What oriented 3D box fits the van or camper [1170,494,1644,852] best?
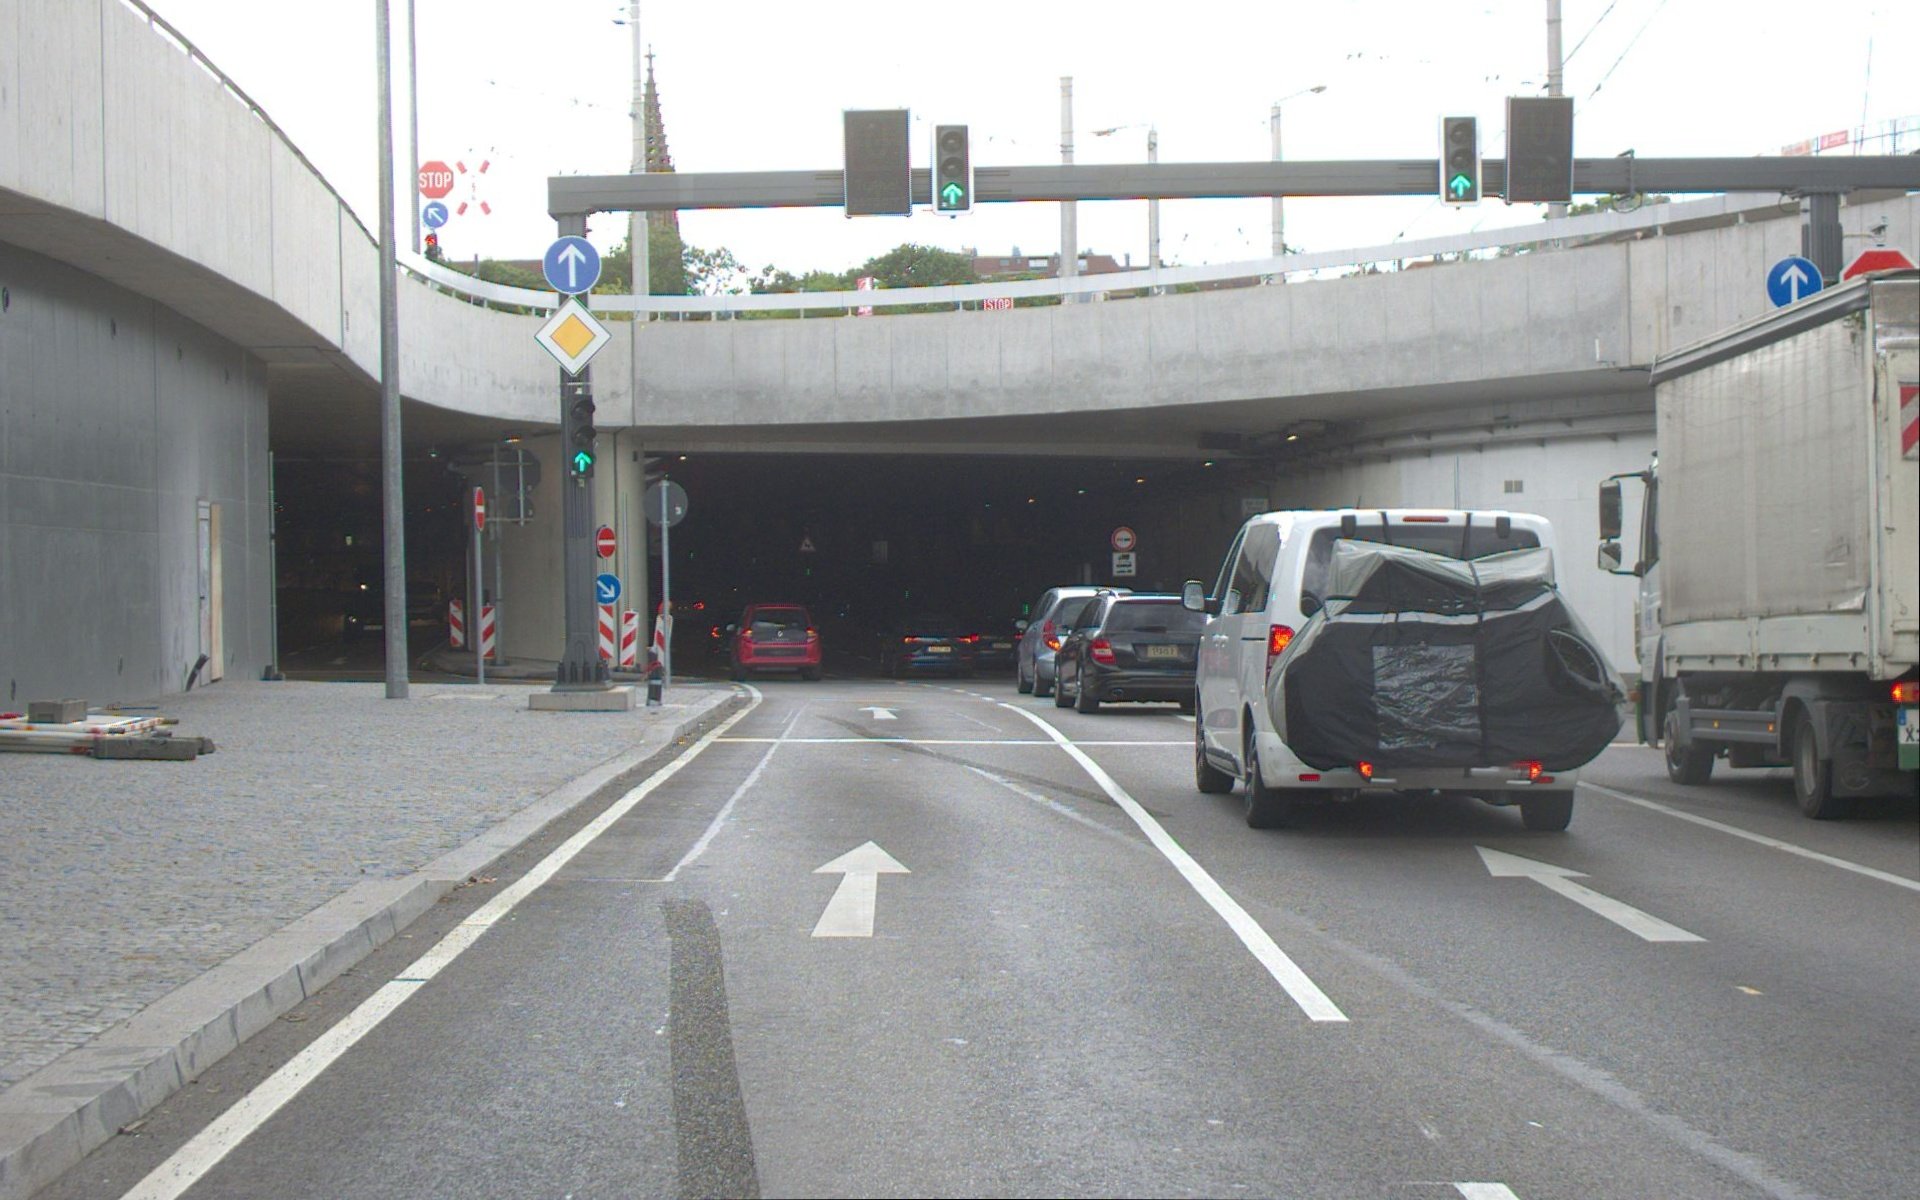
[{"bbox_3d":[2.502,0.418,20.690,1.993,1.839,5.508,1,-1,-1],"label":"van or camper"}]

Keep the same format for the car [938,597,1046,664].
[{"bbox_3d":[0.808,0.793,89.526,1.989,1.670,4.509,0,0,-10],"label":"car"}]

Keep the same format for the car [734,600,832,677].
[{"bbox_3d":[-3.532,0.763,68.201,1.660,1.483,3.568,0,0,-7],"label":"car"}]

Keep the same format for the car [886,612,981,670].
[{"bbox_3d":[-0.602,0.888,75.311,1.663,1.243,3.568,0,0,-7],"label":"car"}]

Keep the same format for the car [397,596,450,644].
[{"bbox_3d":[-19.566,0.704,125.534,1.807,1.599,4.789,-1,1,-8],"label":"car"}]

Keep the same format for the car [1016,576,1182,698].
[{"bbox_3d":[1.957,0.500,49.500,1.818,1.575,4.001,3,0,-5],"label":"car"}]

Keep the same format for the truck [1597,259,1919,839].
[{"bbox_3d":[6.270,-0.321,22.549,2.649,3.174,7.426,-1,0,-1],"label":"truck"}]

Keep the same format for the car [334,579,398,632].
[{"bbox_3d":[-16.670,0.136,96.351,1.664,1.436,4.114,-1,1,-11],"label":"car"}]

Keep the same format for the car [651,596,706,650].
[{"bbox_3d":[-10.986,0.883,134.140,1.993,2.007,4.001,0,1,-6],"label":"car"}]

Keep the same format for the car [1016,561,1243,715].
[{"bbox_3d":[1.903,0.410,39.813,1.818,1.678,4.001,1,0,-9],"label":"car"}]

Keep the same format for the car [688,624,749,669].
[{"bbox_3d":[-6.856,1.304,97.288,1.508,1.243,3.568,0,0,-7],"label":"car"}]
